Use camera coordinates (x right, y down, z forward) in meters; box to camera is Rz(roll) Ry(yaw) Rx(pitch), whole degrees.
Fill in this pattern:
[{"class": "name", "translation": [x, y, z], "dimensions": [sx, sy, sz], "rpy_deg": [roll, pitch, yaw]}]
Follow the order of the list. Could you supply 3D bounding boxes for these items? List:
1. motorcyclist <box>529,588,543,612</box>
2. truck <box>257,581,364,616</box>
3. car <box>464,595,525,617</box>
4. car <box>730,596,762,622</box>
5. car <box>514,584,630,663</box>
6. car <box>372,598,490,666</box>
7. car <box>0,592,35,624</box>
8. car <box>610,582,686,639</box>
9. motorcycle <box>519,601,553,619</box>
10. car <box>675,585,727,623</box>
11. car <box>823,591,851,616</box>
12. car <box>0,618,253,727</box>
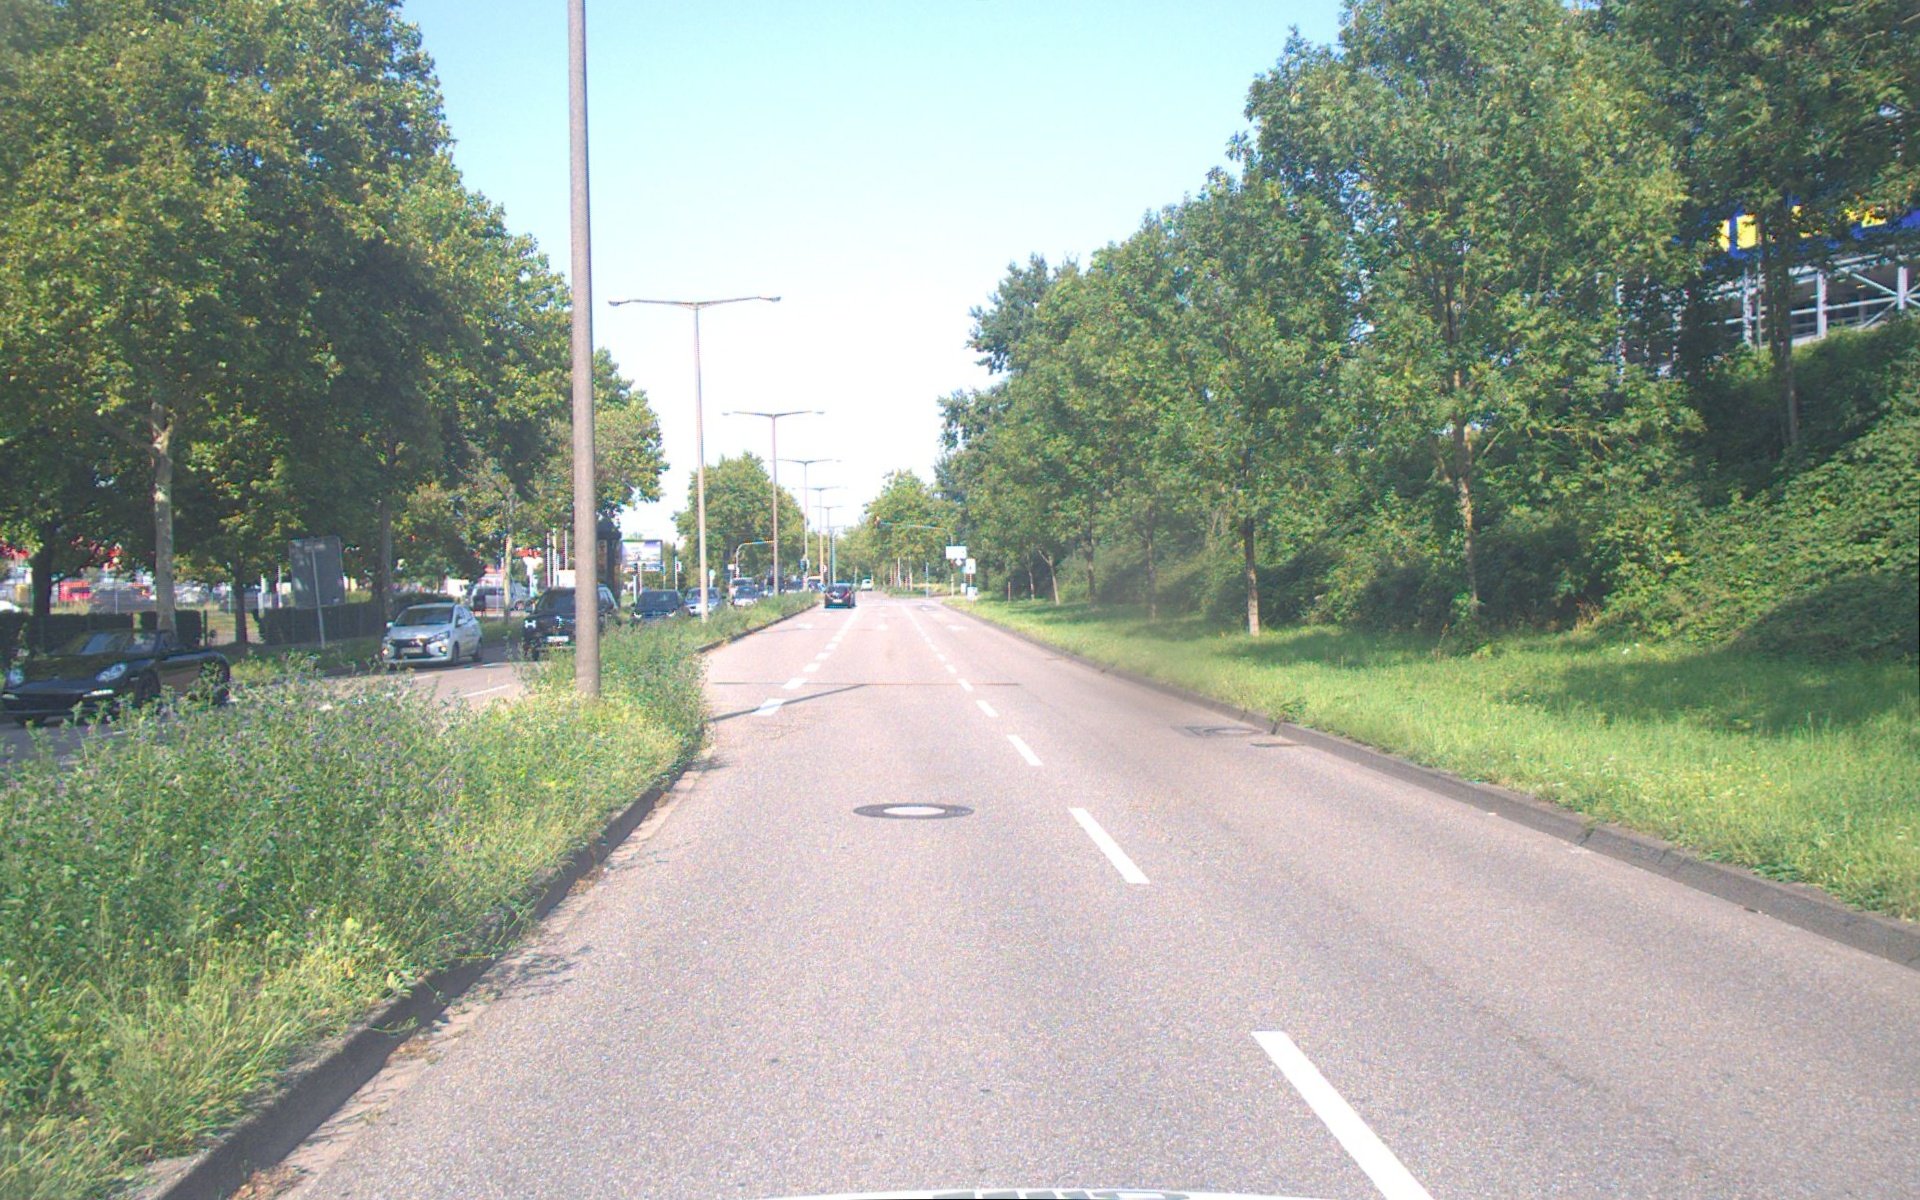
[{"class": "motorcyclist", "translation": [-28.178, 0.006, 109.875], "dimensions": [0.677, 1.599, 0.674], "rpy_deg": [0, 0, -39]}, {"class": "truck", "translation": [-62.416, -0.155, 159.103], "dimensions": [8.926, 3.009, 3.465], "rpy_deg": [-2, 1, -39]}, {"class": "car", "translation": [-31.270, 0.411, 111.185], "dimensions": [3.666, 1.468, 1.446], "rpy_deg": [0, 0, -39]}, {"class": "car", "translation": [-12.715, 0.547, 98.392], "dimensions": [1.643, 1.512, 3.490], "rpy_deg": [0, 0, -4]}, {"class": "car", "translation": [-9.691, 0.553, 41.653], "dimensions": [1.954, 1.790, 4.475], "rpy_deg": [-3, 0, -3]}, {"class": "car", "translation": [-12.678, 0.732, 39.865], "dimensions": [1.755, 1.508, 3.997], "rpy_deg": [-1, 0, -4]}, {"class": "car", "translation": [-53.503, 0.443, 91.445], "dimensions": [3.957, 1.709, 1.846], "rpy_deg": [0, 0, -37]}, {"class": "car", "translation": [-10.864, 0.347, 57.846], "dimensions": [1.954, 1.790, 4.305], "rpy_deg": [-3, 0, -3]}, {"class": "motorcycle", "translation": [-28.161, 0.688, 109.878], "dimensions": [2.055, 1.156, 0.668], "rpy_deg": [-1, 0, -39]}, {"class": "car", "translation": [-11.610, 0.184, 74.414], "dimensions": [1.842, 1.621, 4.106], "rpy_deg": [-1, 0, -3]}, {"class": "car", "translation": [-7.795, 0.206, 105.268], "dimensions": [1.658, 1.512, 3.998], "rpy_deg": [-1, 0, -3]}, {"class": "car", "translation": [-11.758, 0.963, 23.418], "dimensions": [1.754, 1.285, 4.094], "rpy_deg": [-2, 0, -1]}]
